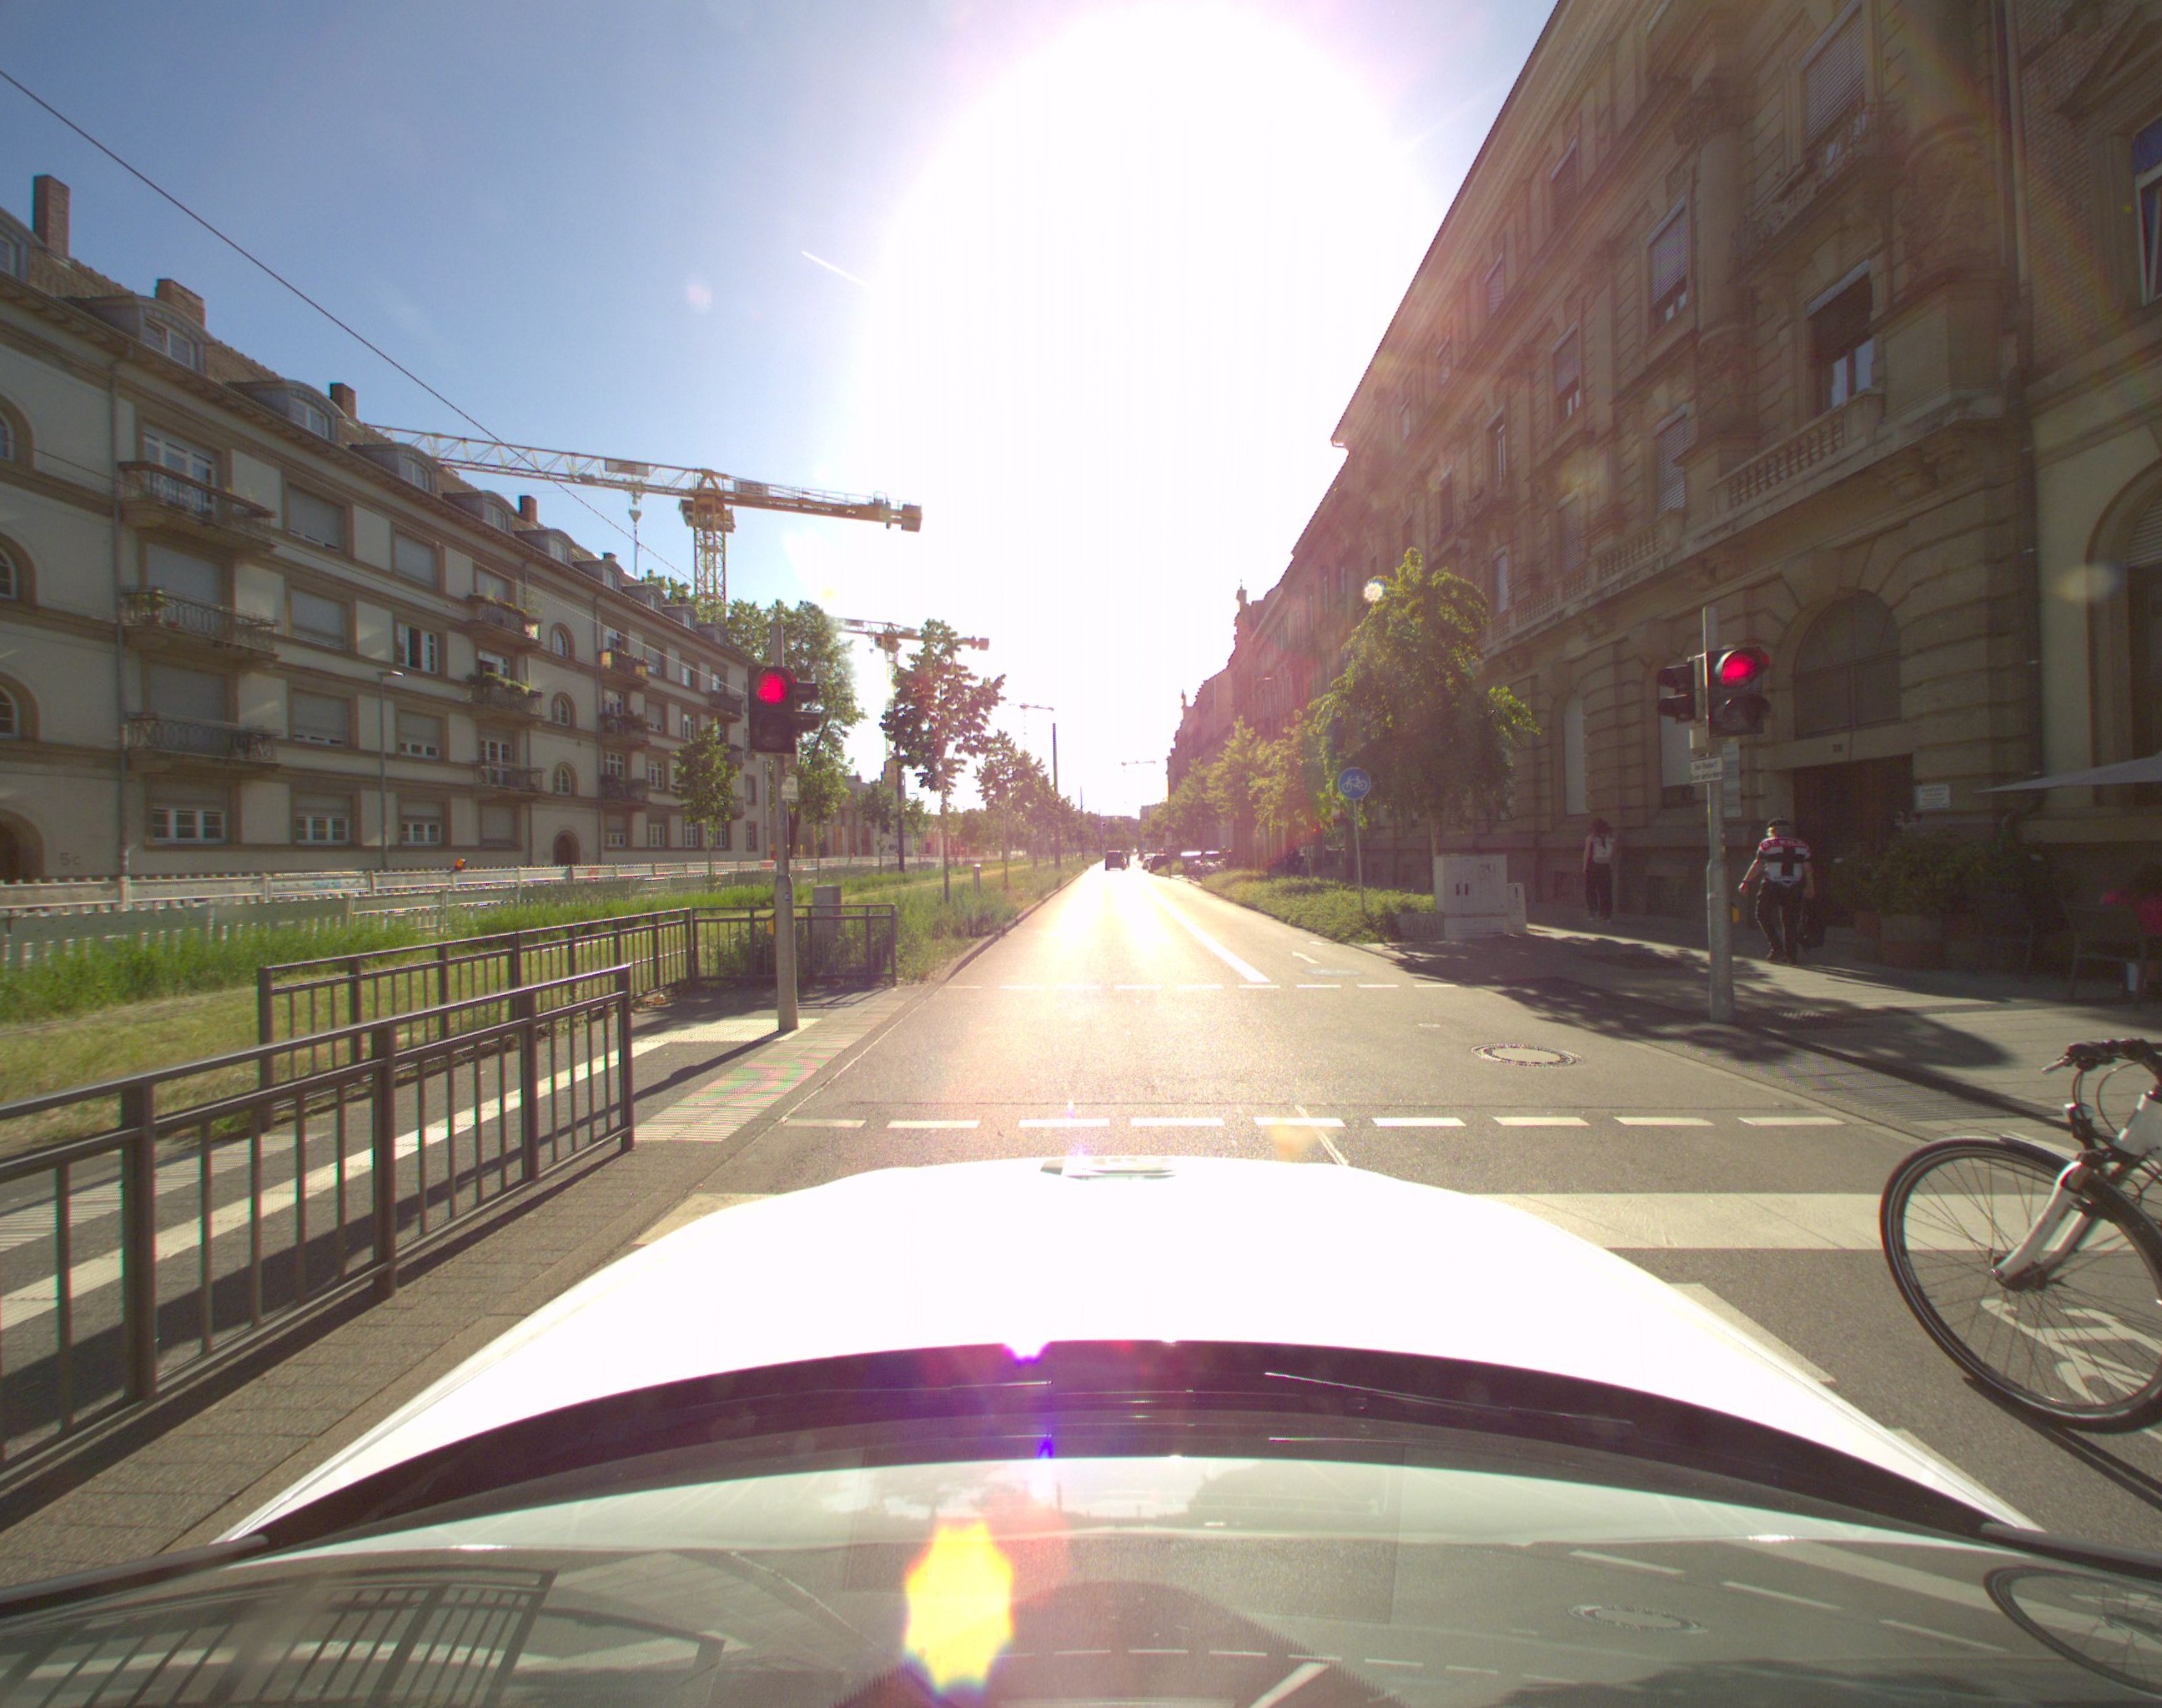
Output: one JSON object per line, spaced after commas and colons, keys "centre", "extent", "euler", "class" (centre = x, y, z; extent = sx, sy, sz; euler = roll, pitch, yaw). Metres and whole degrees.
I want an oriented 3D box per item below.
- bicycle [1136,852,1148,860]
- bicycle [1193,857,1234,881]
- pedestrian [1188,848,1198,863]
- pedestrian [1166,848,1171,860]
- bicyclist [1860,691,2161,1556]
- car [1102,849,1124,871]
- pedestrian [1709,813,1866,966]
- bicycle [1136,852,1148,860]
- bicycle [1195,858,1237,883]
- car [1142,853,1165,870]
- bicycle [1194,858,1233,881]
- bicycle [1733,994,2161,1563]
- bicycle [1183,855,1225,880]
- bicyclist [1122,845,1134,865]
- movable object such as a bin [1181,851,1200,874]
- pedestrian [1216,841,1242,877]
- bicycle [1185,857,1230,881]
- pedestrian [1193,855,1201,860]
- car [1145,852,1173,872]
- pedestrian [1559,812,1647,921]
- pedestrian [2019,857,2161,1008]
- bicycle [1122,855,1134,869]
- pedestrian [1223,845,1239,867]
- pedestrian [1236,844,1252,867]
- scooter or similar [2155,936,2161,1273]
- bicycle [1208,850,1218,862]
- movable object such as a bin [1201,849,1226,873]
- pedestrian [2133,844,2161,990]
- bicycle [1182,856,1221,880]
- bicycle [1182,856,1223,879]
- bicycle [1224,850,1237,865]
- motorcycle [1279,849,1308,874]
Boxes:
{"centre": [10.463, 0.351, 139.138], "extent": [1.821, 1.078, 0.664], "euler": [-4, 0, -4], "class": "bicycle"}
{"centre": [6.723, 0.743, 41.418], "extent": [1.971, 1.108, 0.435], "euler": [-3, -1, -1], "class": "bicycle"}
{"centre": [13.022, 0.232, 94.621], "extent": [0.992, 1.731, 0.866], "euler": [0, -1, 1], "class": "pedestrian"}
{"centre": [14.958, 0.021, 139.410], "extent": [0.814, 2.014, 1.046], "euler": [0, -3, 2], "class": "pedestrian"}
{"centre": [2.623, 0.566, 1.806], "extent": [0.722, 1.817, 1.088], "euler": [0, 0, -7], "class": "bicyclist"}
{"centre": [3.051, 0.560, 76.780], "extent": [1.985, 2.014, 4.003], "euler": [0, -1, 3], "class": "car"}
{"centre": [8.421, 0.407, 9.783], "extent": [0.962, 1.692, 1.118], "euler": [-3, 0, 16], "class": "pedestrian"}
{"centre": [10.268, 0.277, 137.608], "extent": [1.875, 1.233, 0.499], "euler": [-4, -1, -4], "class": "bicycle"}
{"centre": [6.572, 0.778, 39.604], "extent": [1.887, 1.108, 0.517], "euler": [-3, -1, -4], "class": "bicycle"}
{"centre": [7.064, 0.720, 80.273], "extent": [1.944, 1.495, 5.108], "euler": [-3, 0, 2], "class": "car"}
{"centre": [6.668, 0.774, 41.076], "extent": [1.811, 1.056, 0.571], "euler": [-3, -1, -4], "class": "bicycle"}
{"centre": [2.628, 0.987, 1.777], "extent": [0.722, 1.006, 1.948], "euler": [0, 0, -6], "class": "bicycle"}
{"centre": [6.487, 0.707, 42.935], "extent": [2.148, 1.154, 0.428], "euler": [-5, 0, -12], "class": "bicycle"}
{"centre": [4.886, 0.077, 84.735], "extent": [1.205, 2.015, 1.642], "euler": [0, -1, 2], "class": "bicyclist"}
{"centre": [7.326, 0.534, 54.663], "extent": [1.264, 1.463, 1.647], "euler": [0, 2, 7], "class": "movable object such as a bin"}
{"centre": [7.528, 0.273, 41.417], "extent": [0.891, 1.735, 0.855], "euler": [-5, 0, 39], "class": "pedestrian"}
{"centre": [6.616, 0.781, 42.587], "extent": [2.287, 1.102, 0.484], "euler": [-3, 0, -13], "class": "bicycle"}
{"centre": [14.335, 0.462, 100.698], "extent": [0.770, 0.553, 2.008], "euler": [-2, 1, 2], "class": "pedestrian"}
{"centre": [6.463, 0.659, 67.572], "extent": [1.760, 1.477, 4.447], "euler": [-4, -1, -1], "class": "car"}
{"centre": [9.681, 0.223, 15.155], "extent": [0.885, 1.920, 1.100], "euler": [-3, 0, 7], "class": "pedestrian"}
{"centre": [8.893, 0.632, 6.951], "extent": [0.715, 1.183, 0.881], "euler": [-2, -1, 1], "class": "pedestrian"}
{"centre": [4.875, 0.831, 84.845], "extent": [1.205, 1.464, 4.001], "euler": [0, -1, 2], "class": "bicycle"}
{"centre": [11.304, 0.146, 61.456], "extent": [0.947, 1.566, 1.080], "euler": [-2, 1, 1], "class": "pedestrian"}
{"centre": [12.264, 0.091, 61.463], "extent": [0.967, 1.639, 0.993], "euler": [-3, 1, 2], "class": "pedestrian"}
{"centre": [4.069, 0.860, 2.261], "extent": [0.644, 1.158, 1.149], "euler": [0, 0, -4], "class": "scooter or similar"}
{"centre": [13.546, 0.198, 83.863], "extent": [0.718, 1.090, 2.200], "euler": [-3, 0, 2], "class": "bicycle"}
{"centre": [8.922, 0.468, 54.798], "extent": [1.368, 1.495, 1.750], "euler": [-4, -1, 3], "class": "movable object such as a bin"}
{"centre": [9.864, 0.542, 6.894], "extent": [0.722, 1.282, 0.888], "euler": [-2, -1, 1], "class": "pedestrian"}
{"centre": [6.586, 0.737, 44.425], "extent": [1.970, 1.124, 0.481], "euler": [-5, 1, -4], "class": "bicycle"}
{"centre": [6.577, 0.731, 44.017], "extent": [2.040, 1.107, 0.610], "euler": [-4, 0, -4], "class": "bicycle"}
{"centre": [12.770, 0.326, 69.687], "extent": [0.745, 1.201, 1.802], "euler": [-3, -1, 2], "class": "bicycle"}
{"centre": [11.520, 0.406, 44.246], "extent": [0.862, 1.266, 2.983], "euler": [0, -1, 2], "class": "motorcycle"}
